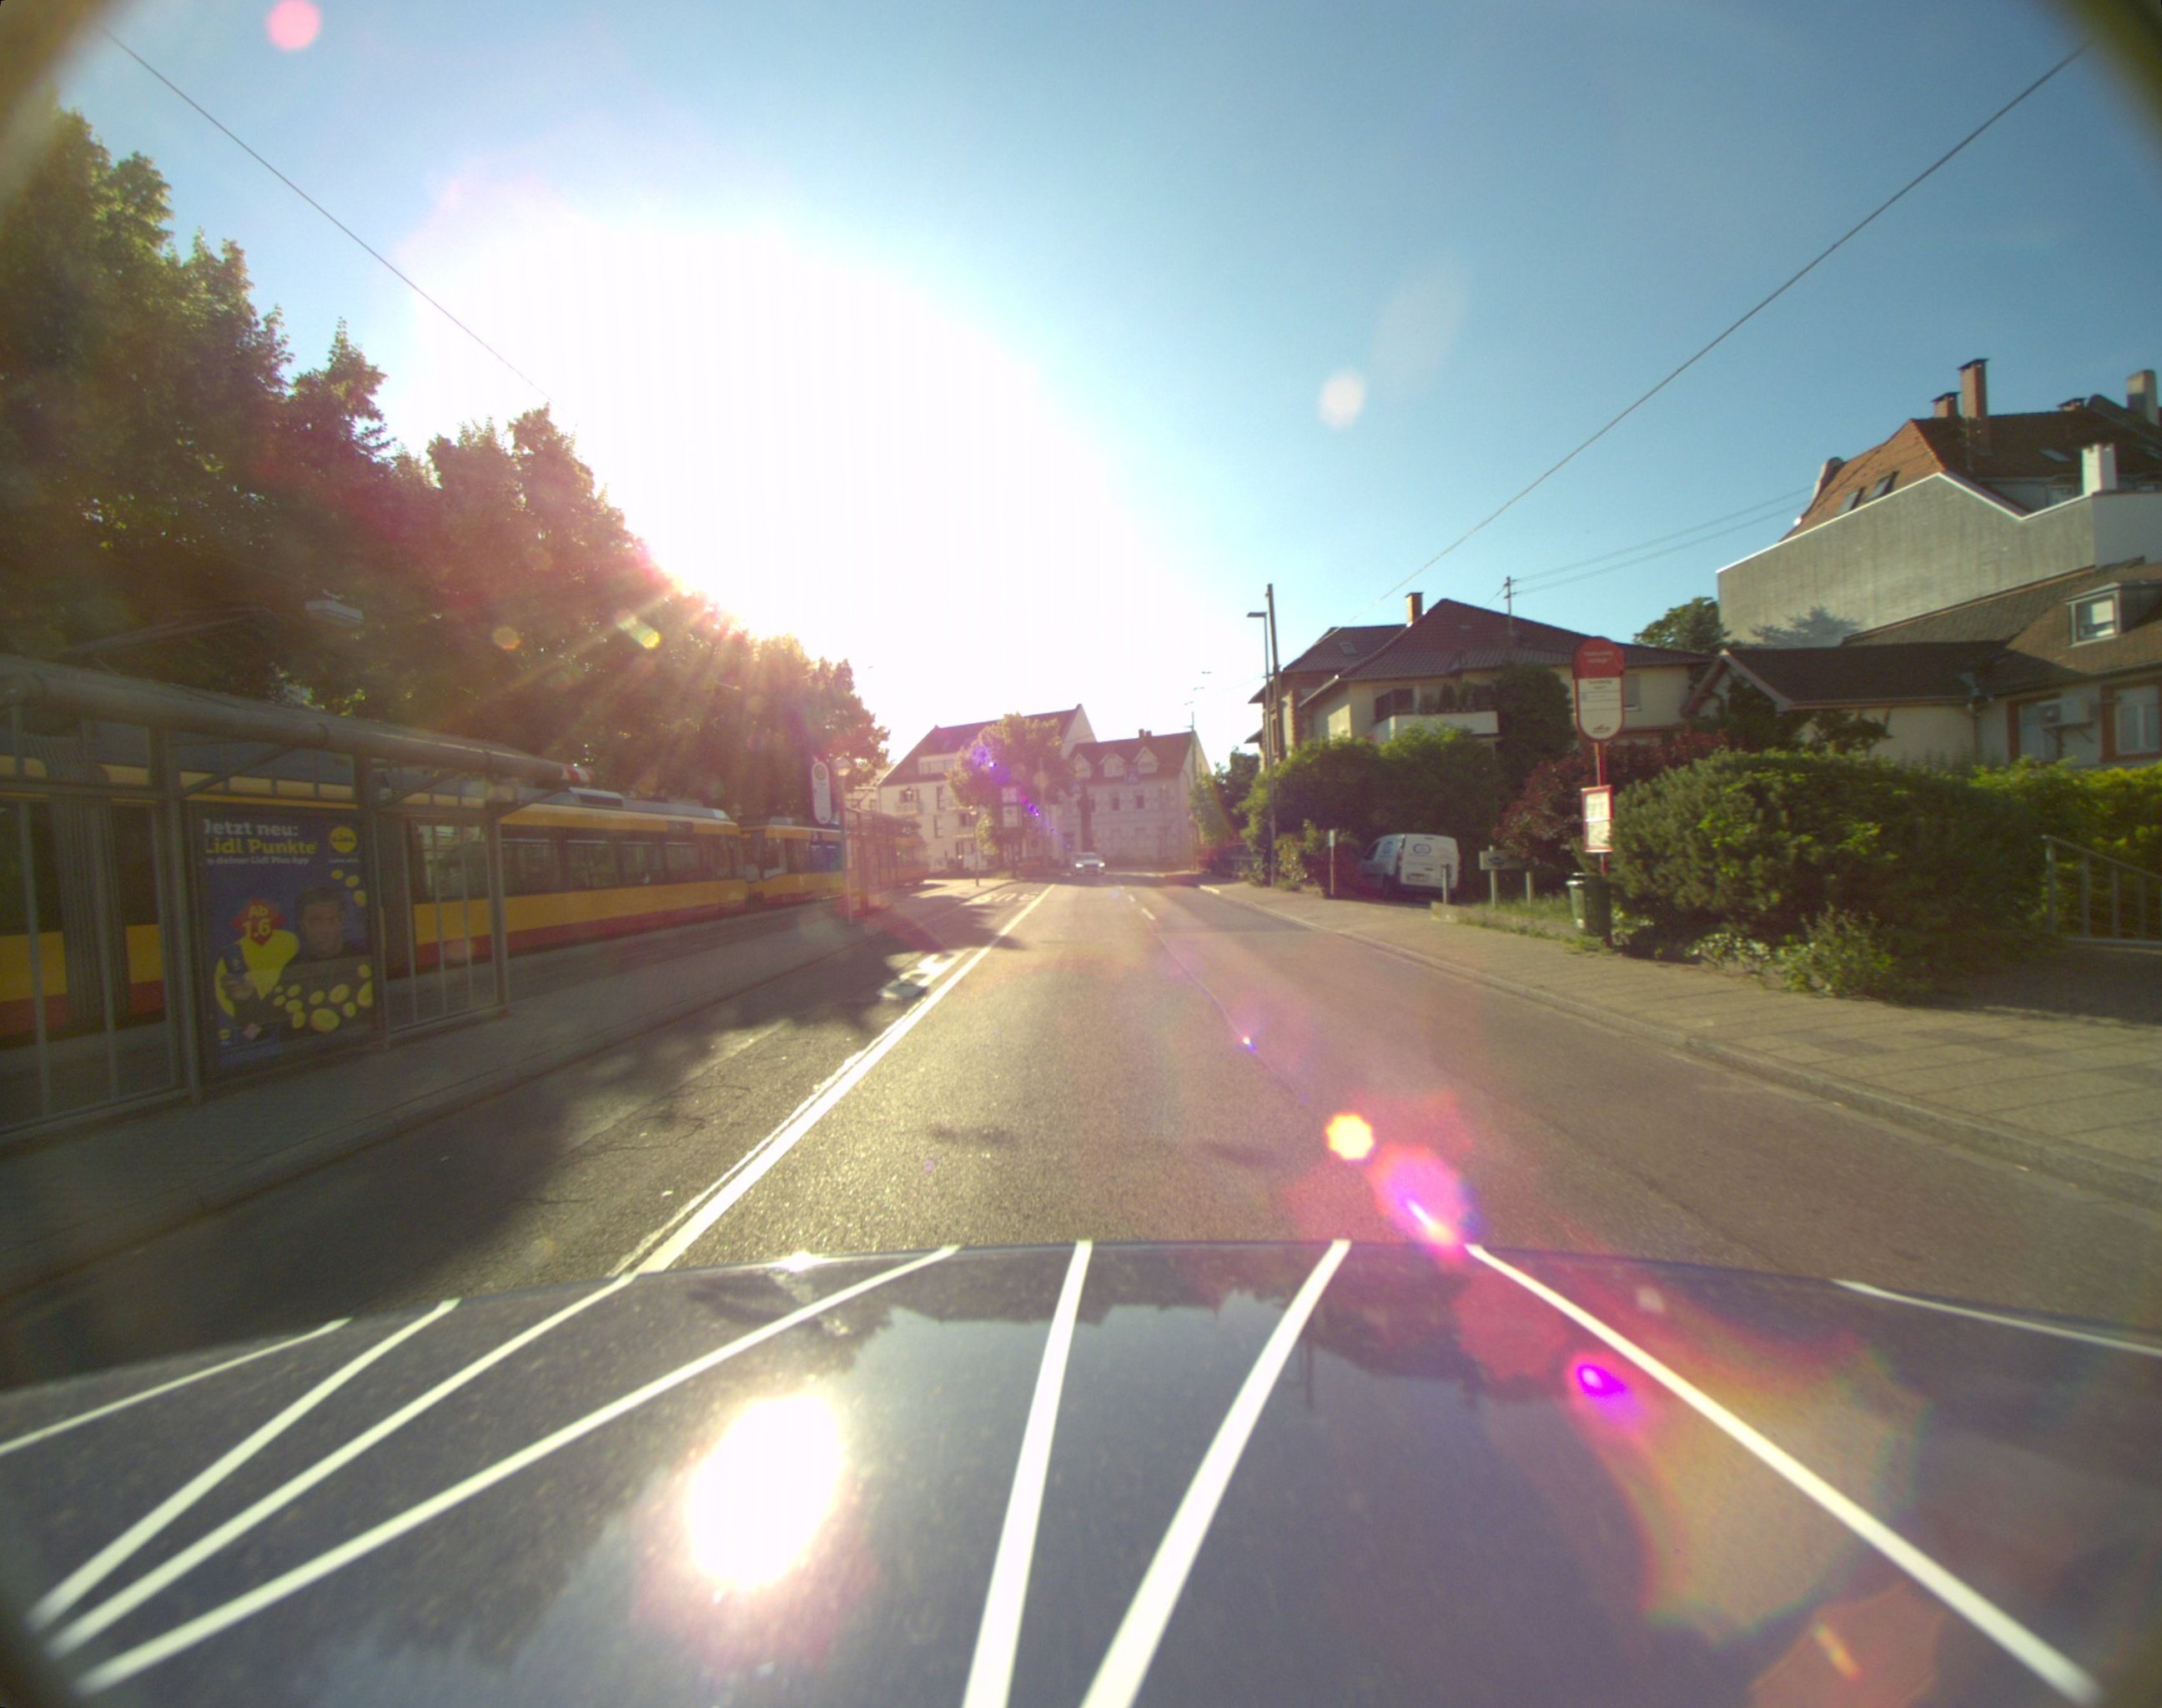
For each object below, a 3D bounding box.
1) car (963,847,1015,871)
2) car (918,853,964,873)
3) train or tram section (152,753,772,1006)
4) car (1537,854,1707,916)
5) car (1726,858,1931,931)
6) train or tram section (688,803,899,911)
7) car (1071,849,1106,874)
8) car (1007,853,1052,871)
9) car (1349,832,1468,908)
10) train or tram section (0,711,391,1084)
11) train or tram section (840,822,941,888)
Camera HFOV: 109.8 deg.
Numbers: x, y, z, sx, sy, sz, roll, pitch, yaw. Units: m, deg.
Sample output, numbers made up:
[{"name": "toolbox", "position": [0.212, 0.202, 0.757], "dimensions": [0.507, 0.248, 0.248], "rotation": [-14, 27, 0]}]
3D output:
[{"name": "car", "position": [-8.636, 0.505, 71.024], "dimensions": [4.780, 1.922, 1.875], "rotation": [-4, 0, 37]}, {"name": "car", "position": [-14.886, 0.963, 80.900], "dimensions": [4.263, 1.945, 2.003], "rotation": [-2, 1, 20]}, {"name": "train or tram section", "position": [-11.519, 0.226, 17.524], "dimensions": [2.964, 3.514, 13.461], "rotation": [-2, 1, 1]}, {"name": "car", "position": [14.890, 0.802, 21.198], "dimensions": [1.846, 1.509, 3.790], "rotation": [1, 1, -4]}, {"name": "car", "position": [19.788, 0.996, 20.390], "dimensions": [1.845, 1.659, 3.793], "rotation": [2, 1, 4]}, {"name": "train or tram section", "position": [-11.215, 0.079, 32.602], "dimensions": [2.965, 3.401, 15.938], "rotation": [-2, 0, 0]}, {"name": "car", "position": [0.450, 0.453, 48.939], "dimensions": [1.999, 1.454, 4.448], "rotation": [-3, 0, -2]}, {"name": "car", "position": [-5.181, 0.841, 75.952], "dimensions": [4.196, 1.454, 1.610], "rotation": [-4, 0, 32]}, {"name": "car", "position": [8.909, 0.390, 21.025], "dimensions": [1.705, 1.804, 3.671], "rotation": [4, 1, 3]}, {"name": "train or tram section", "position": [-11.729, 0.539, 3.070], "dimensions": [2.964, 3.514, 15.966], "rotation": [-2, 1, 1]}, {"name": "train or tram section", "position": [-11.360, 0.060, 47.093], "dimensions": [2.965, 3.401, 13.462], "rotation": [-2, 0, -1]}]
